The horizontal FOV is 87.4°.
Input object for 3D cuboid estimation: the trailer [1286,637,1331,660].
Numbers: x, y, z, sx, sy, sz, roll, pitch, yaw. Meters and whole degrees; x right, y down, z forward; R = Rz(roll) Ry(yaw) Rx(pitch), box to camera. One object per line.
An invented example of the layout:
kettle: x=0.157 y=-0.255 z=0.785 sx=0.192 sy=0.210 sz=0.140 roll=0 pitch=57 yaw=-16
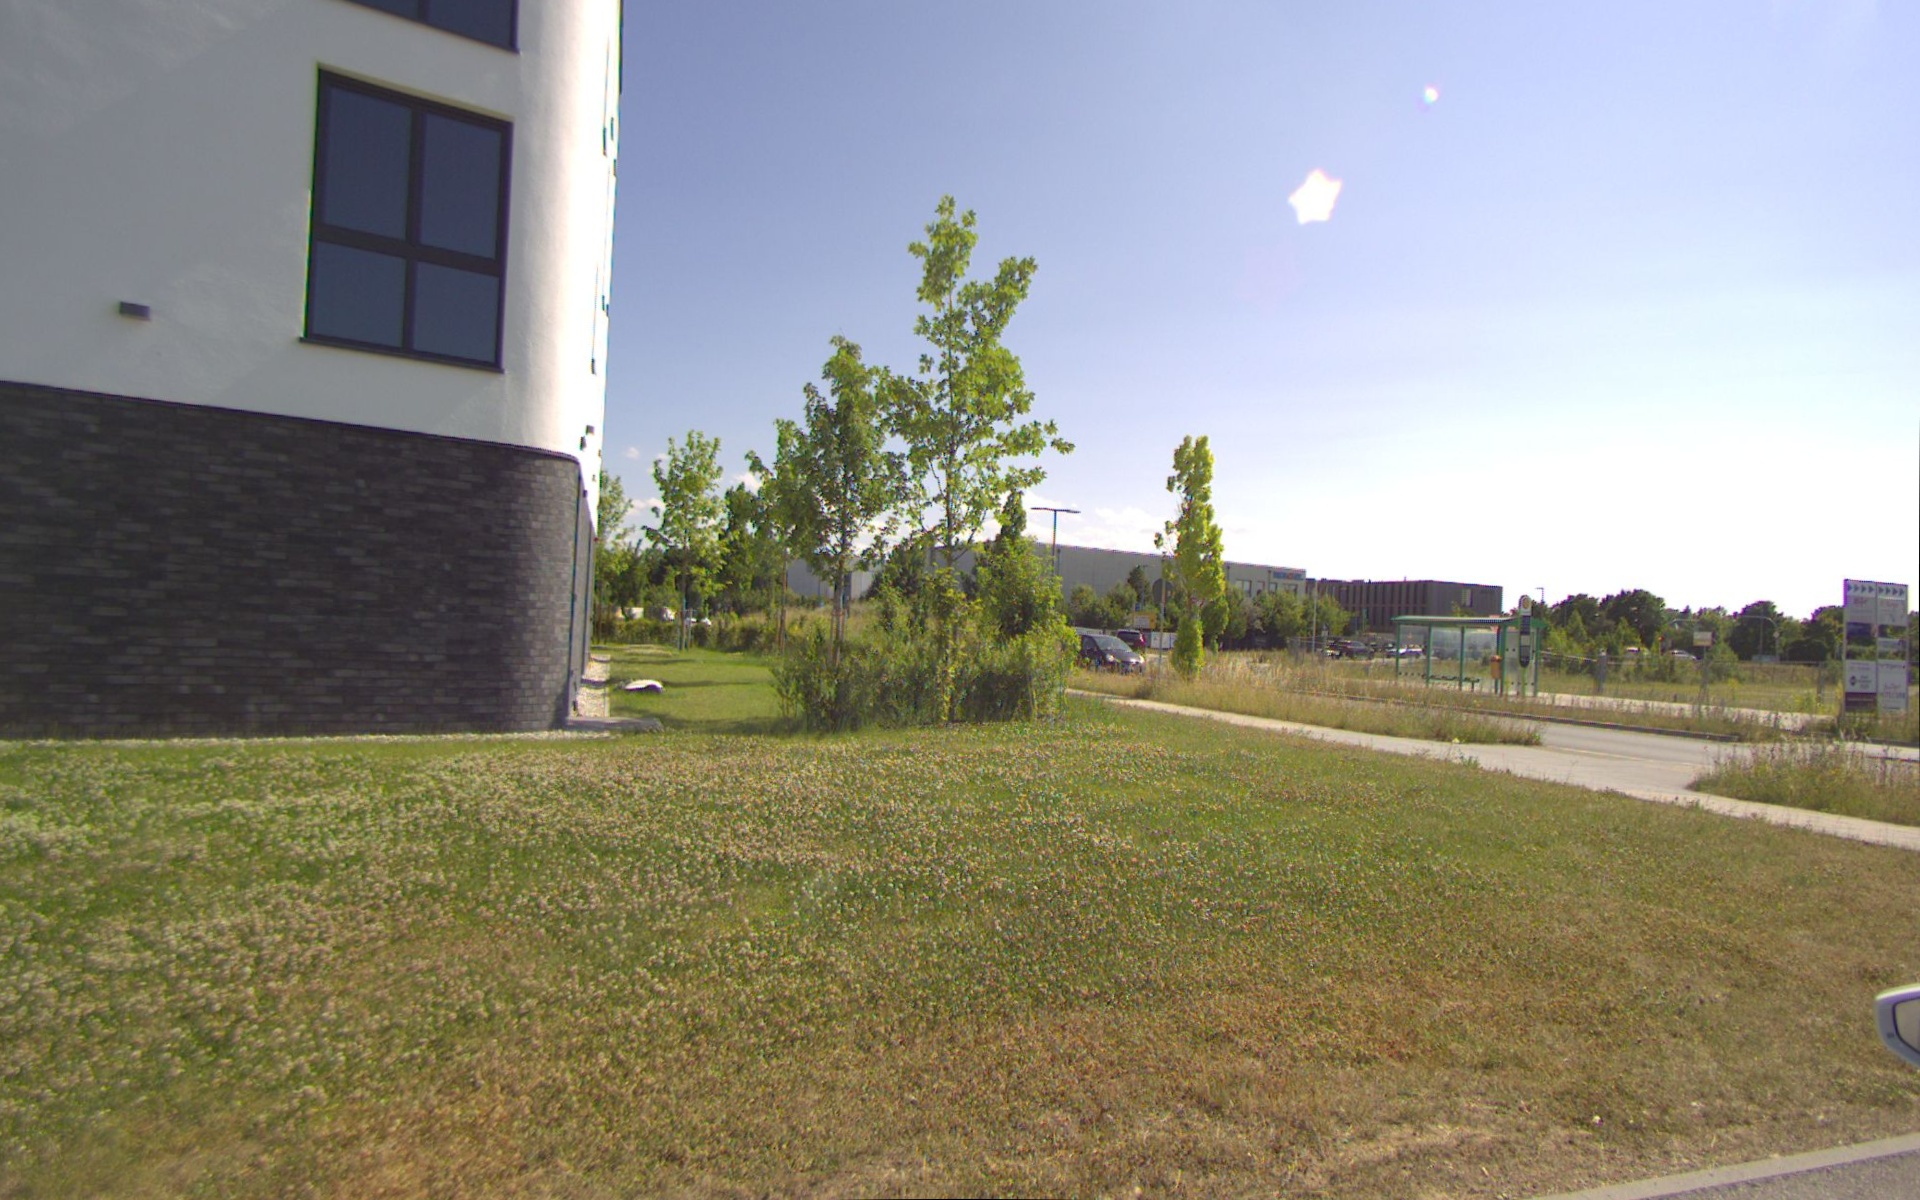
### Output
trailer: x=31.897 y=4.451 z=91.962 sx=3.957 sy=1.884 sz=1.812 roll=4 pitch=-1 yaw=-32

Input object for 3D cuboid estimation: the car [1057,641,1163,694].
car: x=5.217 y=2.331 z=35.422 sx=1.972 sy=1.571 sz=3.821 roll=3 pitch=-1 yaw=-23

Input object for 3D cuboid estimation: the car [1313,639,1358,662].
car: x=35.160 y=4.700 z=94.007 sx=3.957 sy=1.884 sz=1.812 roll=4 pitch=-1 yaw=-32

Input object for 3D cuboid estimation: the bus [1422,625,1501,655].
bus: x=53.005 y=4.279 z=105.960 sx=11.462 sy=2.771 sz=2.553 roll=3 pitch=-1 yaw=-37
